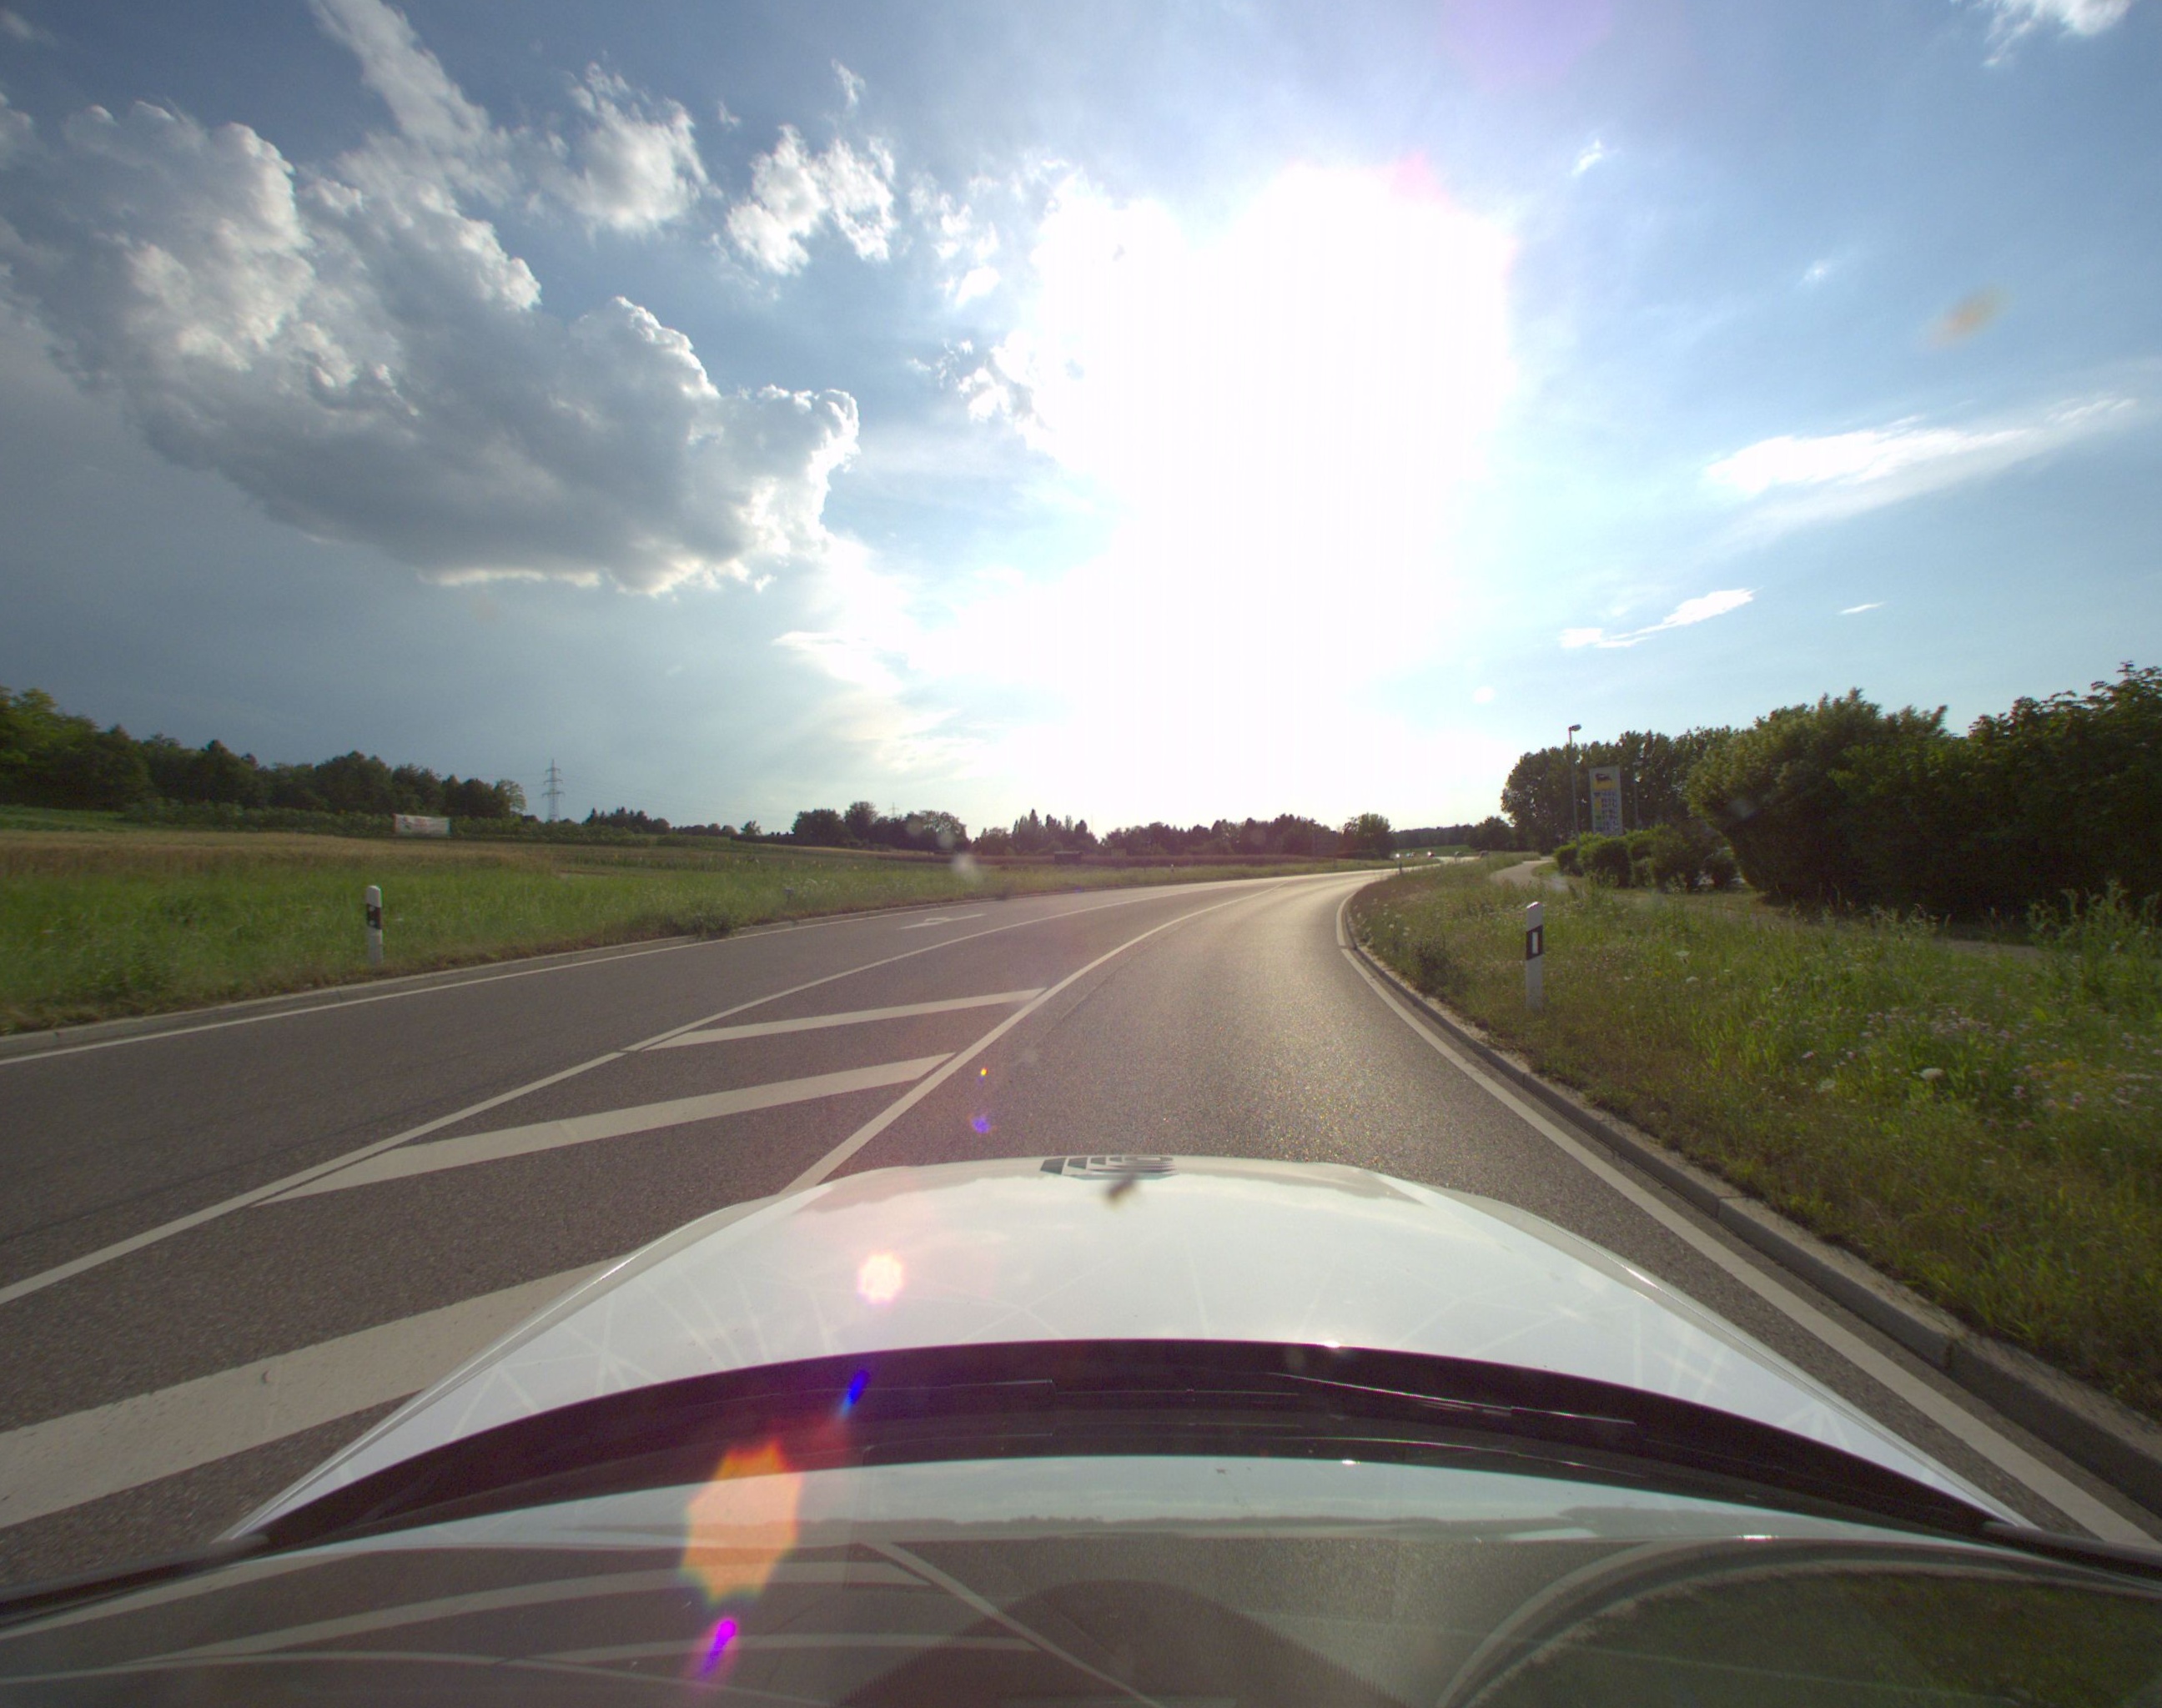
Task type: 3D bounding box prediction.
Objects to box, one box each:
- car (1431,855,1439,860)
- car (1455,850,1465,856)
[{"bbox_3d":[105.431,0.957,242.297,1.836,1.408,3.390,0,-1,18],"label":"car"},{"bbox_3d":[95.728,-0.173,205.829,1.836,1.408,3.659,0,-1,16],"label":"car"}]
